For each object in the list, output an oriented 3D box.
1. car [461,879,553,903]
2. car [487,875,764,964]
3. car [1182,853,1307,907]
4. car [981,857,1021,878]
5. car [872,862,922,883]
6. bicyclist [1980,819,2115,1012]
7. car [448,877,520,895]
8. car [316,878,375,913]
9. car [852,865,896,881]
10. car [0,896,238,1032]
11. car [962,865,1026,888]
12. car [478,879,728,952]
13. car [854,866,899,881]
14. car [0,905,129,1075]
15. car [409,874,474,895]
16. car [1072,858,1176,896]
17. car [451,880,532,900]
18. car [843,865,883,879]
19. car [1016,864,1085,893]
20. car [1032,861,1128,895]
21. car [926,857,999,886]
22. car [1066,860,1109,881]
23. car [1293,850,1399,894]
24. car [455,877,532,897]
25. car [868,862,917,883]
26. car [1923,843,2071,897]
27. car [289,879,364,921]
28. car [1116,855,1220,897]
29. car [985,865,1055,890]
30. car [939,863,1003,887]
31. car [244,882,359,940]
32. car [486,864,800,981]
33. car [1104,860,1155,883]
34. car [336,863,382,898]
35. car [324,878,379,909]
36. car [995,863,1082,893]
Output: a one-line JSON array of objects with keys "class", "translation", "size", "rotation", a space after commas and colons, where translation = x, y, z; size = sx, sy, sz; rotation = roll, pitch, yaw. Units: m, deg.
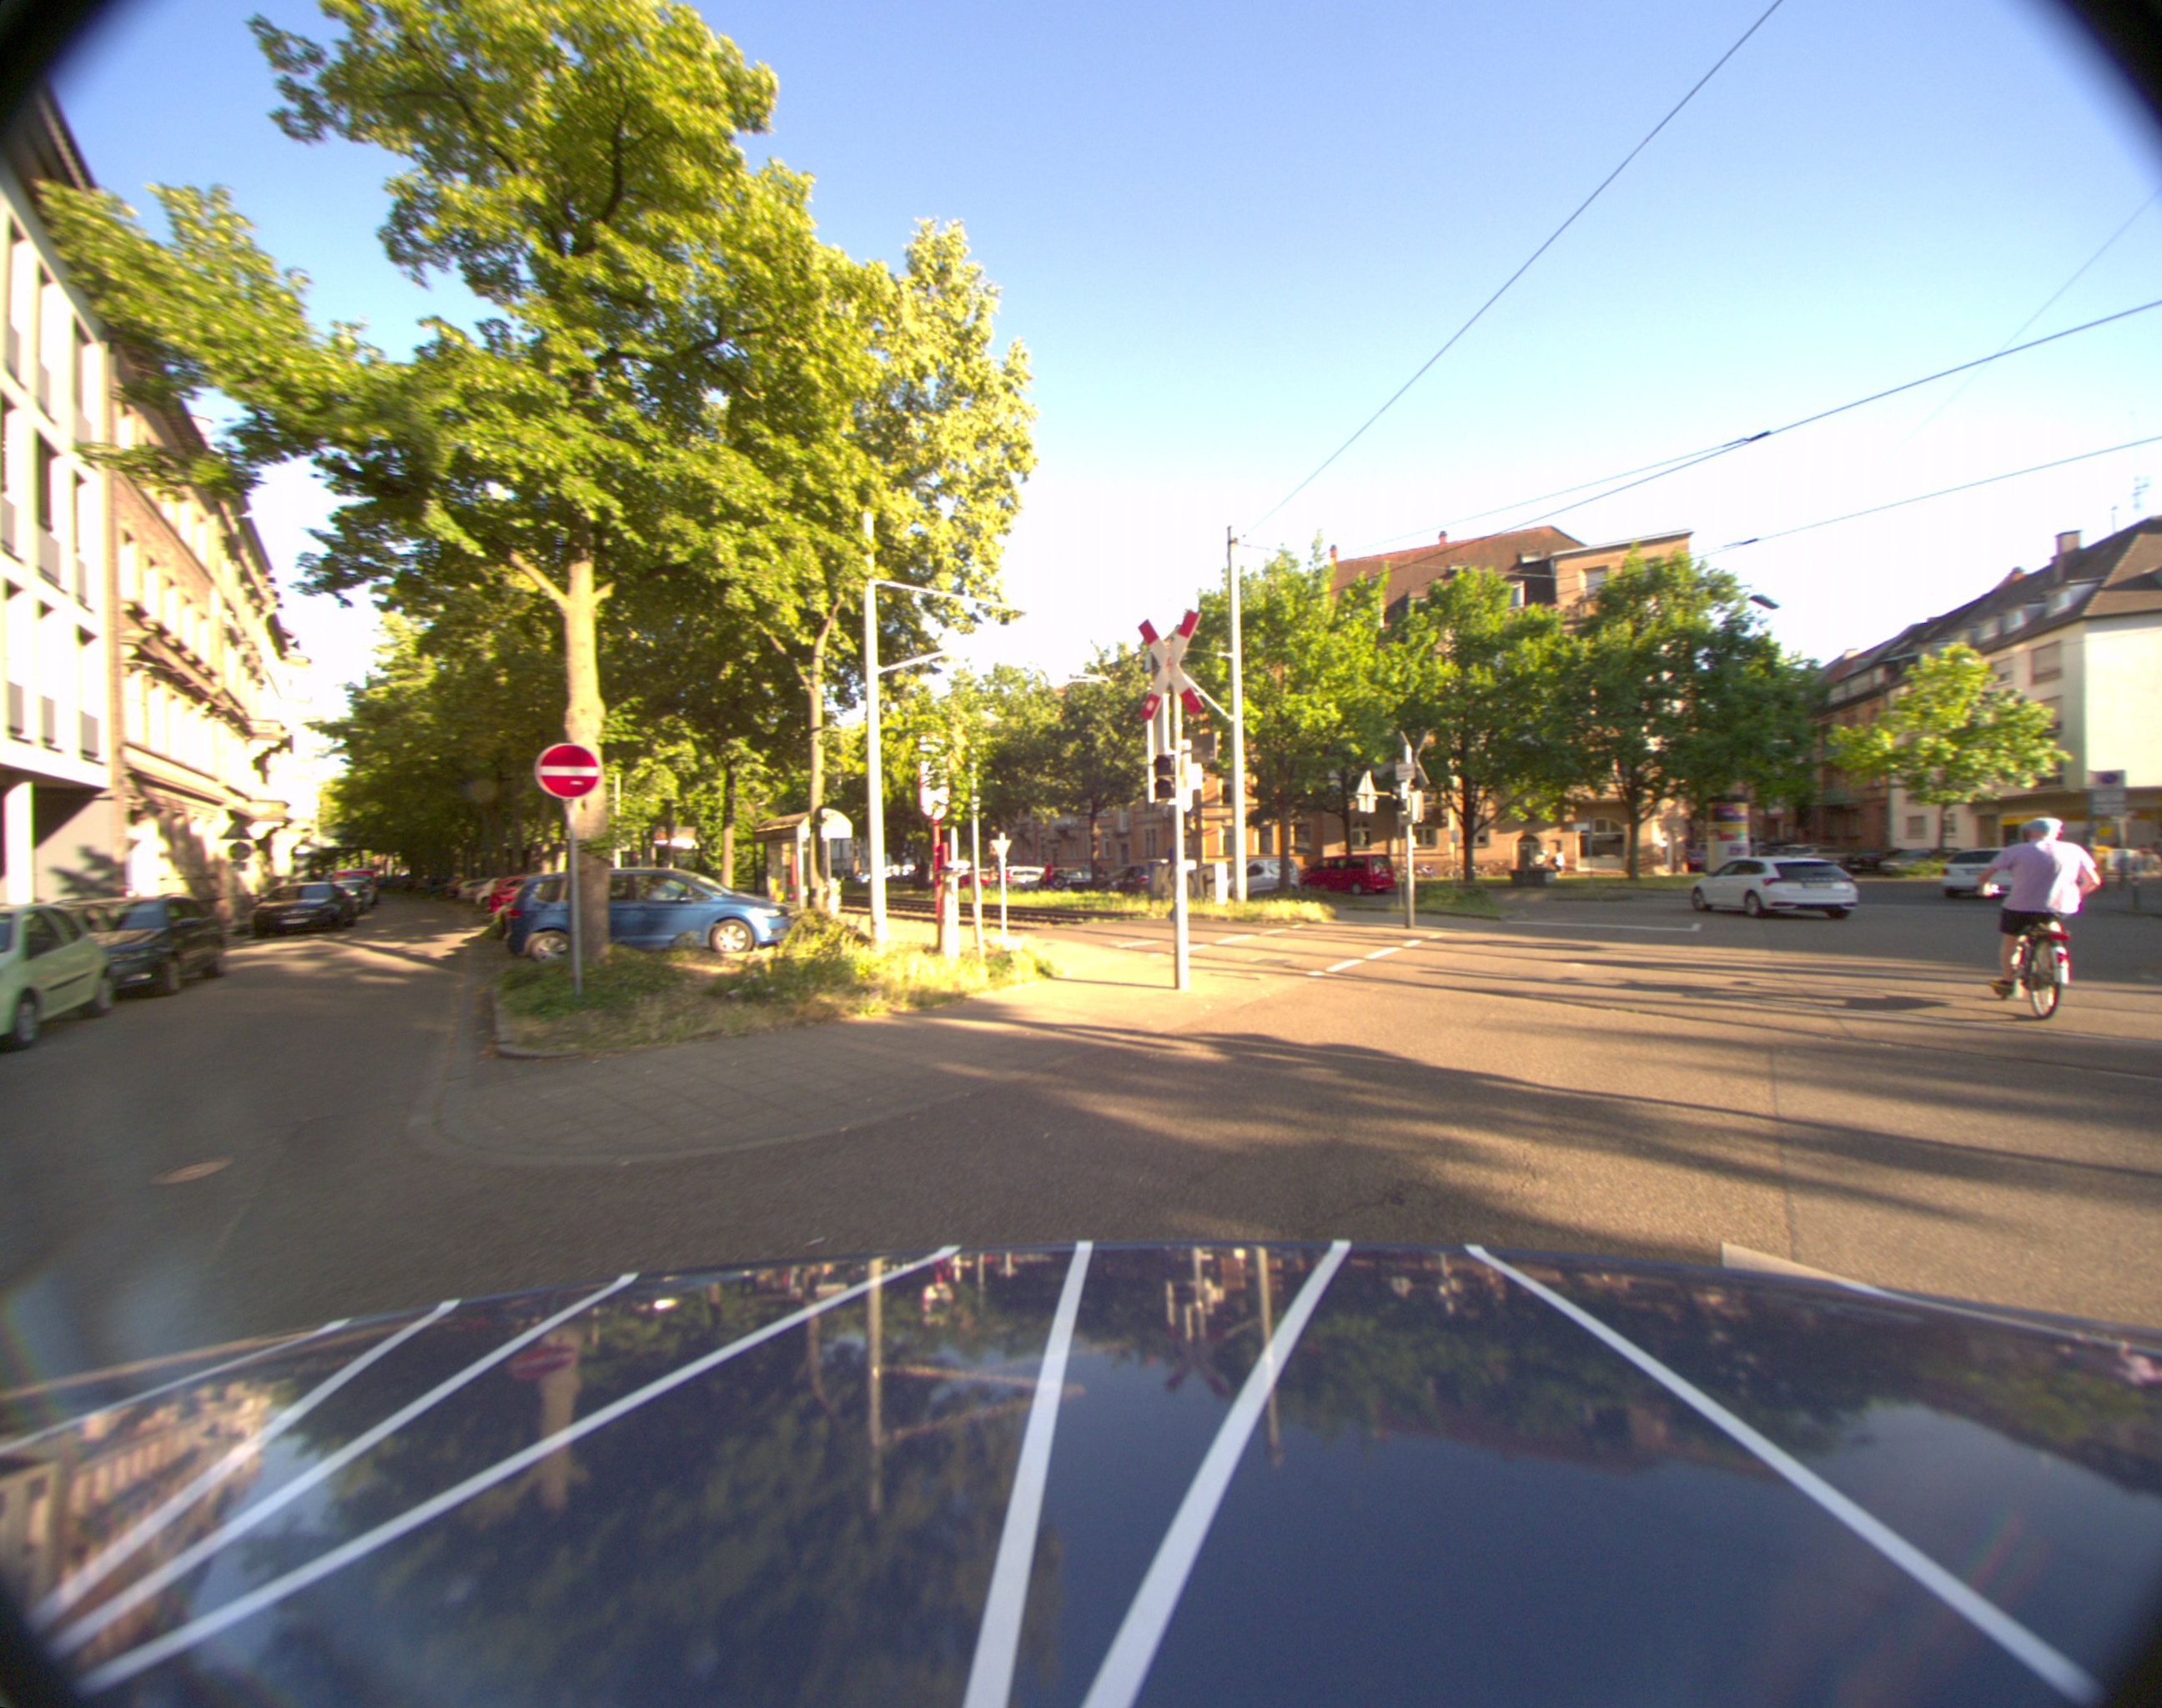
[{"class": "car", "translation": [-33.924, 2.179, 44.998], "size": [4.000, 1.271, 1.747], "rotation": [-1, 0, -9]}, {"class": "car", "translation": [-9.260, 1.287, 15.846], "size": [4.553, 1.625, 1.928], "rotation": [-1, 0, -9]}, {"class": "car", "translation": [6.389, 0.941, 29.647], "size": [4.560, 1.903, 1.945], "rotation": [-1, 1, -28]}, {"class": "car", "translation": [-7.692, 1.295, 72.902], "size": [1.916, 1.872, 4.714], "rotation": [-4, 1, -30]}, {"class": "car", "translation": [-16.449, 1.649, 68.022], "size": [4.006, 1.821, 1.680], "rotation": [0, 0, -30]}, {"class": "bicyclist", "translation": [8.527, 0.500, 6.737], "size": [0.876, 1.579, 0.699], "rotation": [-2, 1, -40]}, {"class": "car", "translation": [-45.797, 2.469, 58.327], "size": [4.000, 1.271, 1.747], "rotation": [-1, 0, -9]}, {"class": "car", "translation": [-37.193, 2.057, 38.494], "size": [2.004, 1.558, 4.406], "rotation": [0, -1, -42]}, {"class": "car", "translation": [-21.100, 1.932, 77.497], "size": [4.006, 1.480, 1.680], "rotation": [0, 0, -30]}, {"class": "car", "translation": [-14.523, 1.504, 11.357], "size": [1.745, 1.481, 4.154], "rotation": [-4, 2, -37]}, {"class": "car", "translation": [-5.904, 1.510, 51.726], "size": [4.006, 1.415, 1.680], "rotation": [0, 0, -30]}, {"class": "car", "translation": [-11.037, 1.388, 17.883], "size": [4.553, 1.478, 1.928], "rotation": [-1, 0, -9]}, {"class": "car", "translation": [-20.189, 1.906, 74.937], "size": [4.006, 1.480, 1.680], "rotation": [0, 0, -30]}, {"class": "car", "translation": [-11.937, 1.421, 7.877], "size": [1.745, 1.481, 3.715], "rotation": [-5, 2, -39]}, {"class": "car", "translation": [-55.787, 2.639, 66.373], "size": [4.004, 1.756, 1.745], "rotation": [0, 0, -23]}, {"class": "car", "translation": [2.065, 1.047, 36.025], "size": [4.560, 1.563, 1.945], "rotation": [-1, 1, -28]}, {"class": "car", "translation": [-40.282, 2.443, 51.962], "size": [4.000, 1.271, 1.747], "rotation": [-1, 0, -9]}, {"class": "car", "translation": [-24.197, 2.034, 84.373], "size": [4.006, 1.480, 1.680], "rotation": [0, 0, -30]}, {"class": "car", "translation": [-1.695, 1.332, 42.355], "size": [3.414, 1.505, 1.715], "rotation": [-1, 0, -28]}, {"class": "car", "translation": [-0.036, 1.231, 40.266], "size": [4.722, 1.563, 1.995], "rotation": [-1, 1, -28]}, {"class": "car", "translation": [-8.695, 1.251, 55.811], "size": [4.868, 2.026, 2.150], "rotation": [0, 0, -30]}, {"class": "car", "translation": [0.485, 1.300, 59.253], "size": [1.691, 1.467, 3.700], "rotation": [-4, 1, -29]}, {"class": "car", "translation": [12.890, 0.856, 37.270], "size": [1.784, 1.922, 4.761], "rotation": [-4, 1, -32]}, {"class": "car", "translation": [-41.704, 2.319, 54.009], "size": [4.000, 1.271, 1.747], "rotation": [-1, 0, -9]}, {"class": "car", "translation": [-17.376, 1.666, 69.996], "size": [4.006, 1.821, 1.680], "rotation": [0, 0, -30]}, {"class": "car", "translation": [27.289, 0.447, 22.626], "size": [4.302, 1.442, 1.919], "rotation": [-1, -1, -27]}, {"class": "car", "translation": [-31.436, 1.854, 31.765], "size": [2.004, 1.558, 4.231], "rotation": [0, -1, -42]}, {"class": "car", "translation": [3.928, 0.910, 34.007], "size": [4.458, 1.681, 1.945], "rotation": [-1, 1, -36]}, {"class": "car", "translation": [-3.765, 1.422, 47.143], "size": [4.006, 1.452, 1.680], "rotation": [0, 0, -30]}, {"class": "car", "translation": [-7.714, 1.439, 53.340], "size": [4.007, 1.570, 1.761], "rotation": [0, 0, -32]}, {"class": "car", "translation": [-24.666, 1.724, 24.232], "size": [2.004, 1.558, 4.581], "rotation": [0, -1, -39]}, {"class": "car", "translation": [-7.506, 1.114, 13.483], "size": [4.420, 1.677, 1.740], "rotation": [-2, 0, -11]}, {"class": "car", "translation": [3.429, 1.222, 54.300], "size": [1.691, 1.467, 3.873], "rotation": [-4, 1, -32]}, {"class": "car", "translation": [-47.771, 1.710, 50.336], "size": [2.004, 2.159, 4.600], "rotation": [0, -1, -41]}, {"class": "car", "translation": [-40.863, 2.188, 42.642], "size": [2.004, 1.558, 4.600], "rotation": [0, -1, -41]}, {"class": "car", "translation": [-2.505, 1.362, 44.897], "size": [4.722, 1.563, 1.995], "rotation": [-1, 1, -28]}]
